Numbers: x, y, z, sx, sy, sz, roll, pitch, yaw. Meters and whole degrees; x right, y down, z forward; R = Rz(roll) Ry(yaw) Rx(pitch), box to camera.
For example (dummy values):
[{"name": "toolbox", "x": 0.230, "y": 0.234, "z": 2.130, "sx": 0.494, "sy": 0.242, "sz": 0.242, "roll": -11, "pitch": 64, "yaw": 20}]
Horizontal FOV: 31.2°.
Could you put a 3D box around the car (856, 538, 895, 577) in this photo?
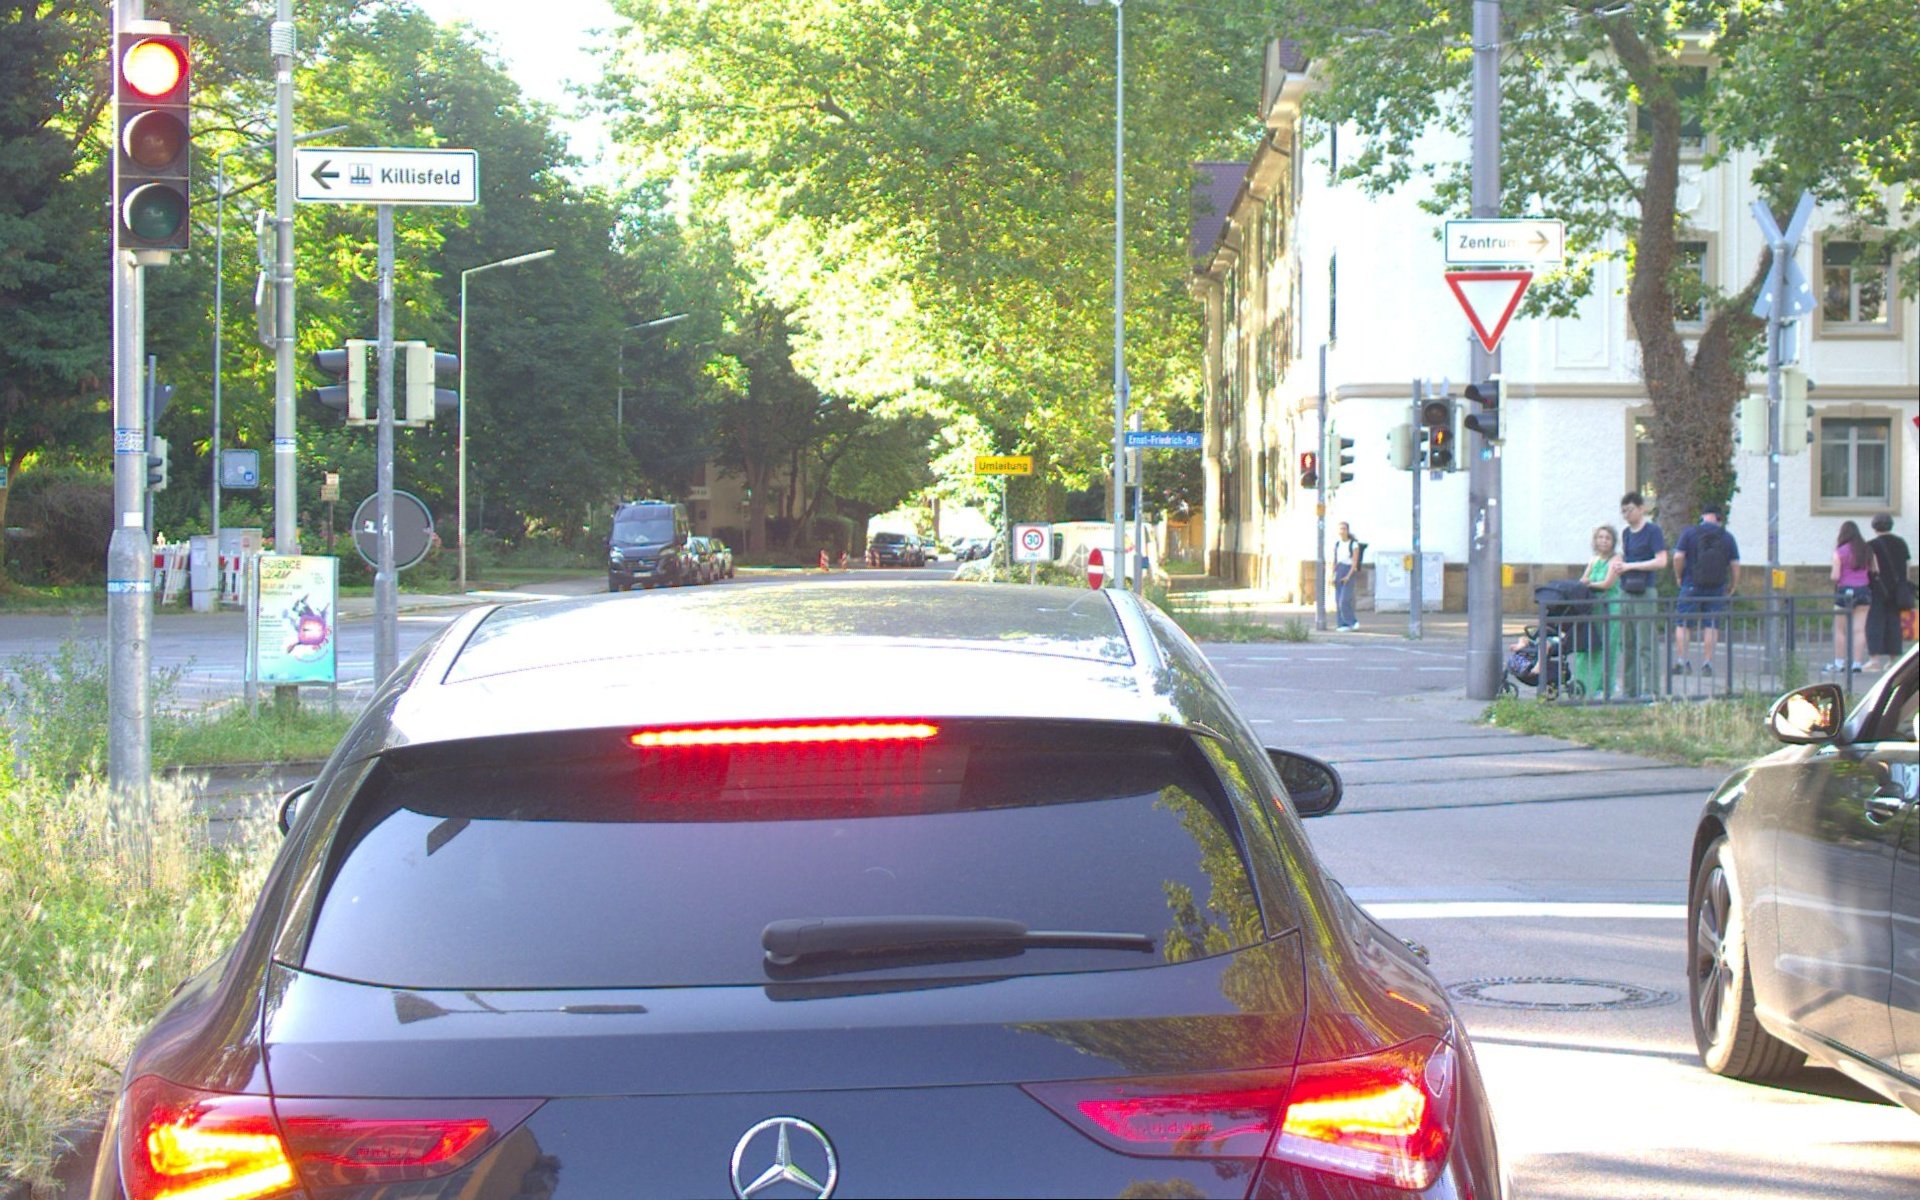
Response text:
[{"name": "car", "x": -3.893, "y": -1.965, "z": 158.463, "sx": 1.733, "sy": 1.759, "sz": 4.019, "roll": 1, "pitch": 1, "yaw": -1}]

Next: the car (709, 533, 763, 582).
[{"name": "car", "x": -8.221, "y": -1.561, "z": 126.401, "sx": 1.733, "sy": 1.759, "sz": 3.971, "roll": 1, "pitch": 1, "yaw": -1}]

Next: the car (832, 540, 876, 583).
[{"name": "car", "x": -4.474, "y": -1.642, "z": 145.561, "sx": 1.733, "sy": 1.759, "sz": 4.019, "roll": 1, "pitch": 1, "yaw": -1}]

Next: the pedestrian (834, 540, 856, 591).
[{"name": "pedestrian", "x": -4.360, "y": -1.320, "z": 130.025, "sx": 0.705, "sy": 1.911, "sz": 0.839, "roll": 1, "pitch": 0, "yaw": -10}]

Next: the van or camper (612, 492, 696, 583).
[{"name": "van or camper", "x": -8.850, "y": -1.798, "z": 99.736, "sx": 1.993, "sy": 2.532, "sz": 4.651, "roll": 1, "pitch": 1, "yaw": 0}]

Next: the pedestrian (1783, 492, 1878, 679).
[{"name": "pedestrian", "x": 9.026, "y": -0.149, "z": 35.667, "sx": 0.705, "sy": 1.911, "sz": 0.839, "roll": 1, "pitch": 0, "yaw": -4}]

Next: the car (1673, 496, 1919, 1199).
[{"name": "car", "x": 2.878, "y": 0.582, "z": 7.357, "sx": 1.889, "sy": 1.485, "sz": 4.382, "roll": 1, "pitch": 3, "yaw": 2}]

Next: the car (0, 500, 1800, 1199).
[{"name": "car", "x": -0.124, "y": 0.629, "z": 5.335, "sx": 1.889, "sy": 1.445, "sz": 4.001, "roll": 1, "pitch": 3, "yaw": 1}]

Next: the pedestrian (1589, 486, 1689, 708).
[{"name": "pedestrian", "x": 5.945, "y": -0.032, "z": 30.117, "sx": 0.682, "sy": 1.911, "sz": 0.707, "roll": 1, "pitch": 0, "yaw": -2}]

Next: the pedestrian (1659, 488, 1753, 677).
[{"name": "pedestrian", "x": 7.654, "y": -0.183, "z": 35.303, "sx": 0.705, "sy": 1.911, "sz": 0.839, "roll": 1, "pitch": 0, "yaw": -4}]

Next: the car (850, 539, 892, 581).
[{"name": "car", "x": -3.871, "y": -1.743, "z": 150.381, "sx": 1.733, "sy": 1.759, "sz": 4.019, "roll": 1, "pitch": 1, "yaw": -1}]

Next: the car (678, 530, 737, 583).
[{"name": "car", "x": -8.611, "y": -1.478, "z": 117.566, "sx": 1.733, "sy": 1.759, "sz": 4.085, "roll": 1, "pitch": 1, "yaw": -1}]

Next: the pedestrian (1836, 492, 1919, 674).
[{"name": "pedestrian", "x": 9.836, "y": -0.178, "z": 36.667, "sx": 0.705, "sy": 1.911, "sz": 0.839, "roll": 1, "pitch": 0, "yaw": -4}]

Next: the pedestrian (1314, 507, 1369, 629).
[{"name": "pedestrian", "x": 6.060, "y": -0.508, "z": 54.683, "sx": 0.705, "sy": 1.911, "sz": 0.839, "roll": 1, "pitch": 0, "yaw": -4}]

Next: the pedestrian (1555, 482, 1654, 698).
[{"name": "pedestrian", "x": 5.787, "y": -0.094, "z": 30.888, "sx": 0.682, "sy": 1.911, "sz": 0.707, "roll": 1, "pitch": 0, "yaw": -4}]

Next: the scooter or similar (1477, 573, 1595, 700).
[{"name": "scooter or similar", "x": 5.102, "y": 0.320, "z": 30.502, "sx": 0.828, "sy": 1.101, "sz": 0.809, "roll": 1, "pitch": 0, "yaw": -6}]
